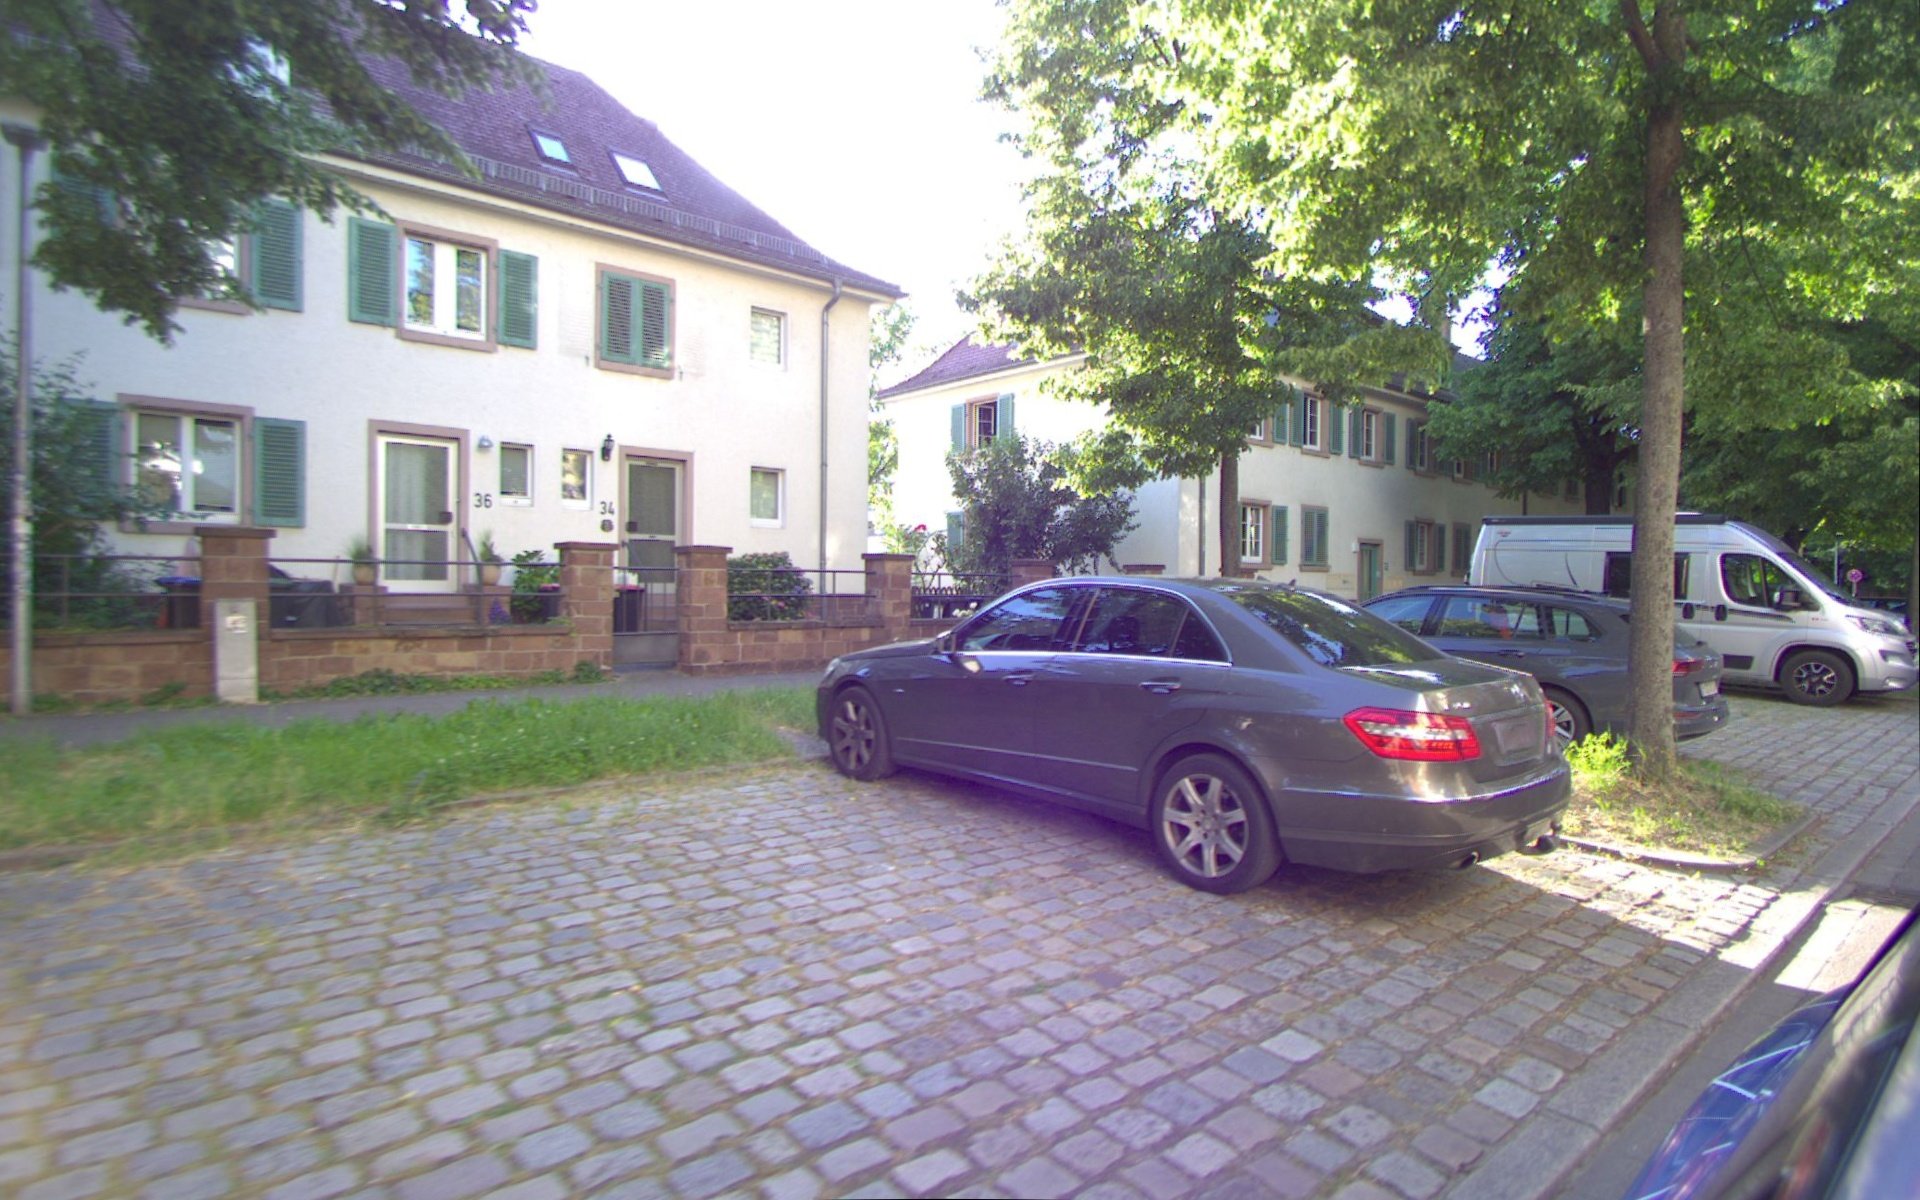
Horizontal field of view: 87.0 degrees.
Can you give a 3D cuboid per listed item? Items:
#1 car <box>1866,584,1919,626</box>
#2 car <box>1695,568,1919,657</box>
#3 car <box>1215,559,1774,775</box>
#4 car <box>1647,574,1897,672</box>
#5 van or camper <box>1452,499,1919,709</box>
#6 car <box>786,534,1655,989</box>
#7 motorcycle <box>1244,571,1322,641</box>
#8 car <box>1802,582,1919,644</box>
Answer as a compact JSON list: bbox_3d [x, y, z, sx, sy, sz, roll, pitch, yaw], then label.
[{"bbox_3d":[36.556,0.218,37.756,1.547,1.531,3.991,0,2,-44],"label":"car"},{"bbox_3d":[19.836,0.227,23.099,1.966,1.737,4.602,0,3,-42],"label":"car"},{"bbox_3d":[4.944,0.438,9.972,1.796,1.453,4.487,0,4,-40],"label":"car"},{"bbox_3d":[14.992,0.344,18.795,1.792,1.480,3.261,0,4,-39],"label":"car"},{"bbox_3d":[10.773,-0.150,15.054,2.124,2.547,5.733,0,4,-41],"label":"van or camper"},{"bbox_3d":[1.061,0.474,6.132,1.862,1.558,4.847,0,4,-42],"label":"car"},{"bbox_3d":[6.939,0.108,21.693,1.982,1.424,0.660,-1,0,-41],"label":"motorcycle"},{"bbox_3d":[25.535,0.352,27.400,1.528,1.571,3.996,0,2,-40],"label":"car"}]
